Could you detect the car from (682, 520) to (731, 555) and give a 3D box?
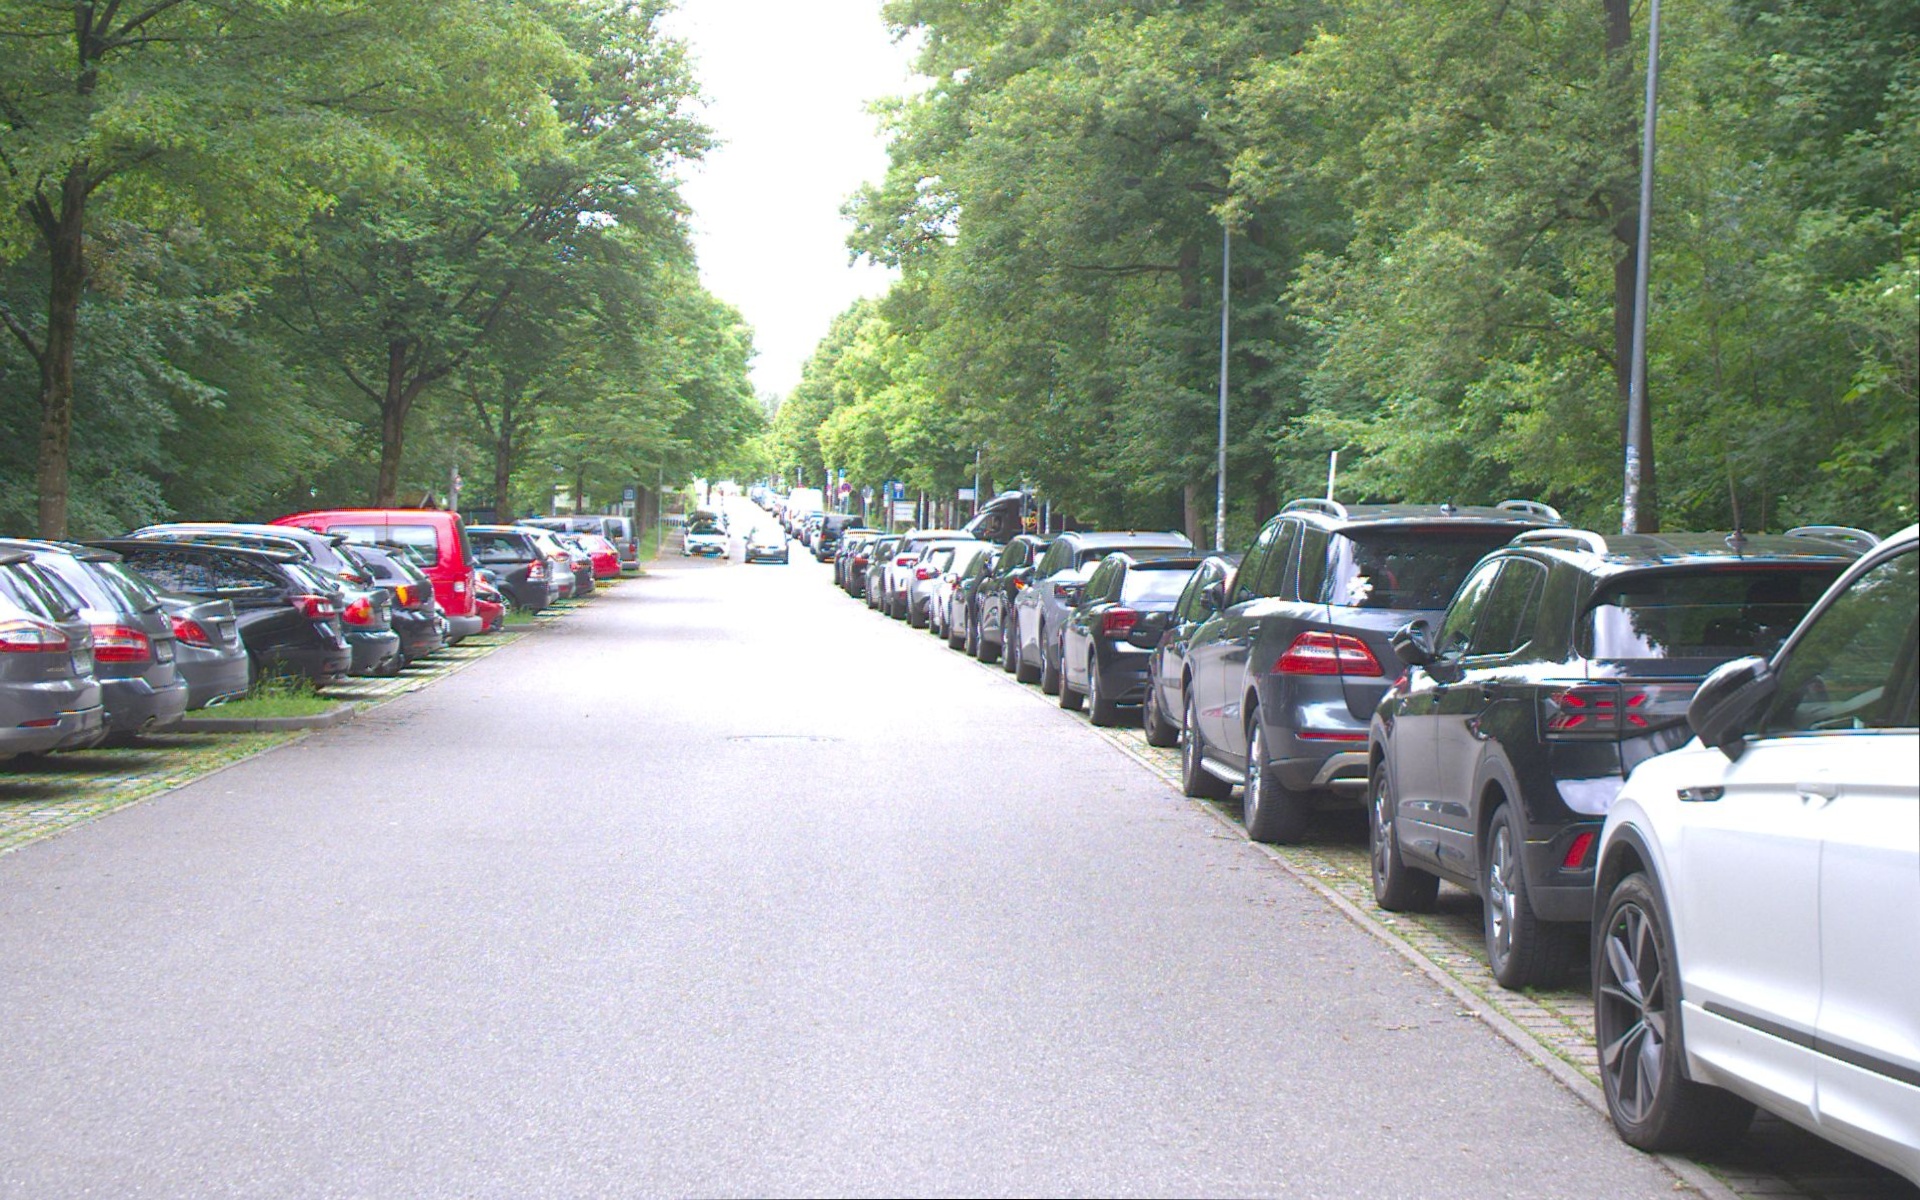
[{"bbox_3d":[-10.034,-2.491,136.234,1.739,1.158,3.411,2,4,-1],"label":"car"}]

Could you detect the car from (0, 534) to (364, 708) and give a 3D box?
[{"bbox_3d":[-7.405,0.159,29.916,4.294,1.444,1.757,1,1,-8],"label":"car"}]

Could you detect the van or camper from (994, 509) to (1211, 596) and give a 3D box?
[{"bbox_3d":[5.173,-1.719,125.177,7.321,2.879,2.651,1,4,-17],"label":"van or camper"}]

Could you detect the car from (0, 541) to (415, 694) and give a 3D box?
[{"bbox_3d":[-7.596,0.143,32.261,4.731,1.338,1.988,1,1,-4],"label":"car"}]

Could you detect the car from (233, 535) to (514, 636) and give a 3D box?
[{"bbox_3d":[-8.889,-0.230,52.324,3.986,1.469,1.847,1,1,-2],"label":"car"}]

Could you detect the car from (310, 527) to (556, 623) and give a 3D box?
[{"bbox_3d":[-8.732,-0.428,57.174,3.832,1.531,1.871,1,1,-2],"label":"car"}]

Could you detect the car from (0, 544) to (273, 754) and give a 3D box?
[{"bbox_3d":[-7.209,0.311,24.814,4.109,1.426,1.964,1,1,-1],"label":"car"}]

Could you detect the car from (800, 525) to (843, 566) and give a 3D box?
[{"bbox_3d":[-5.609,-2.221,138.894,1.628,1.410,3.412,2,4,-4],"label":"car"}]

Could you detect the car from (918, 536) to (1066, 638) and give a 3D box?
[{"bbox_3d":[0.453,-0.224,53.072,1.937,1.470,3.993,1,1,-4],"label":"car"}]

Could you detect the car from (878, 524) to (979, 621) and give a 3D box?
[{"bbox_3d":[-0.620,-0.543,64.681,1.710,1.722,4.001,1,1,-3],"label":"car"}]

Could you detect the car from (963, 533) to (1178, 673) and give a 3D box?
[{"bbox_3d":[1.264,-0.004,41.072,1.978,1.532,4.167,1,1,-6],"label":"car"}]

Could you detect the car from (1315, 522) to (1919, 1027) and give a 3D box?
[{"bbox_3d":[2.592,0.519,13.263,1.751,1.602,4.447,1,1,-3],"label":"car"}]

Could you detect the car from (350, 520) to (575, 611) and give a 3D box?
[{"bbox_3d":[-9.305,-0.649,64.486,3.986,1.634,1.735,1,1,-2],"label":"car"}]

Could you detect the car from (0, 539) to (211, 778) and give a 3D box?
[{"bbox_3d":[-7.112,0.332,22.360,4.109,1.475,1.997,1,1,-3],"label":"car"}]

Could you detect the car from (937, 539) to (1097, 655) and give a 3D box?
[{"bbox_3d":[0.722,-0.074,46.119,1.666,1.439,3.815,1,1,-6],"label":"car"}]

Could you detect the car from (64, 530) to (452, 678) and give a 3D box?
[{"bbox_3d":[-7.574,0.024,37.429,3.986,1.525,2.001,1,1,-7],"label":"car"}]

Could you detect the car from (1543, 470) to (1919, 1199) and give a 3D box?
[{"bbox_3d":[2.621,0.593,6.924,1.785,1.657,4.718,1,1,-4],"label":"car"}]

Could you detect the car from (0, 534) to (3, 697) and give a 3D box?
[{"bbox_3d":[-7.337,0.351,17.507,4.400,1.483,1.837,1,1,-1],"label":"car"}]

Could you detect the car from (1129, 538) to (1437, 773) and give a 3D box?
[{"bbox_3d":[2.216,0.329,24.565,1.598,1.499,4.090,1,1,-3],"label":"car"}]

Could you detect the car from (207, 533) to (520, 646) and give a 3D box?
[{"bbox_3d":[-8.144,-0.162,47.255,3.986,1.469,2.115,1,1,-2],"label":"car"}]

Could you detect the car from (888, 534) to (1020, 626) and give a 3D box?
[{"bbox_3d":[-0.130,-0.366,58.934,1.721,1.489,3.775,1,1,-8],"label":"car"}]

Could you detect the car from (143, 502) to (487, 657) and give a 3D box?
[{"bbox_3d":[-7.895,-0.263,42.409,3.986,1.810,2.115,1,1,-5],"label":"car"}]

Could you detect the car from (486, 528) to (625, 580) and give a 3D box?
[{"bbox_3d":[-11.138,-1.269,94.599,3.576,1.356,1.829,1,1,-15],"label":"car"}]

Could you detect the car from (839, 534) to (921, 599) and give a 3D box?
[{"bbox_3d":[-1.976,-0.840,84.142,1.921,1.515,3.887,1,1,-2],"label":"car"}]

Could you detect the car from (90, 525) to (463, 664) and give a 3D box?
[{"bbox_3d":[-7.868,-0.080,39.863,3.986,1.525,2.000,1,1,-3],"label":"car"}]

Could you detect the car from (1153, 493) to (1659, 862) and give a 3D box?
[{"bbox_3d":[2.283,0.324,18.982,1.889,1.741,4.949,1,1,-3],"label":"car"}]

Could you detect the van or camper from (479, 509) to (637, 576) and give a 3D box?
[{"bbox_3d":[-12.298,-1.756,105.209,4.472,1.861,1.920,1,4,-17],"label":"van or camper"}]

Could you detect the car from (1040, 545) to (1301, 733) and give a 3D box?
[{"bbox_3d":[1.733,0.281,29.593,1.636,1.472,4.152,1,1,-5],"label":"car"}]

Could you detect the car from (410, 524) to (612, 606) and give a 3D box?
[{"bbox_3d":[-9.342,-0.735,71.736,3.986,1.634,2.009,1,1,-2],"label":"car"}]

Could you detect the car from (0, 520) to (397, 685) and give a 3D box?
[{"bbox_3d":[-8.208,0.007,34.941,4.731,1.590,1.960,1,1,-4],"label":"car"}]

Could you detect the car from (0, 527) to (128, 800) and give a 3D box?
[{"bbox_3d":[-7.069,0.315,19.985,4.088,1.518,1.930,1,1,-5],"label":"car"}]

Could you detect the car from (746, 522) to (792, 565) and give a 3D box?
[{"bbox_3d":[-7.421,-2.199,133.151,1.690,1.410,3.154,2,4,-4],"label":"car"}]

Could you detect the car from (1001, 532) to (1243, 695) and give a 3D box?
[{"bbox_3d":[1.589,0.085,35.443,1.978,1.532,4.622,1,1,-3],"label":"car"}]
